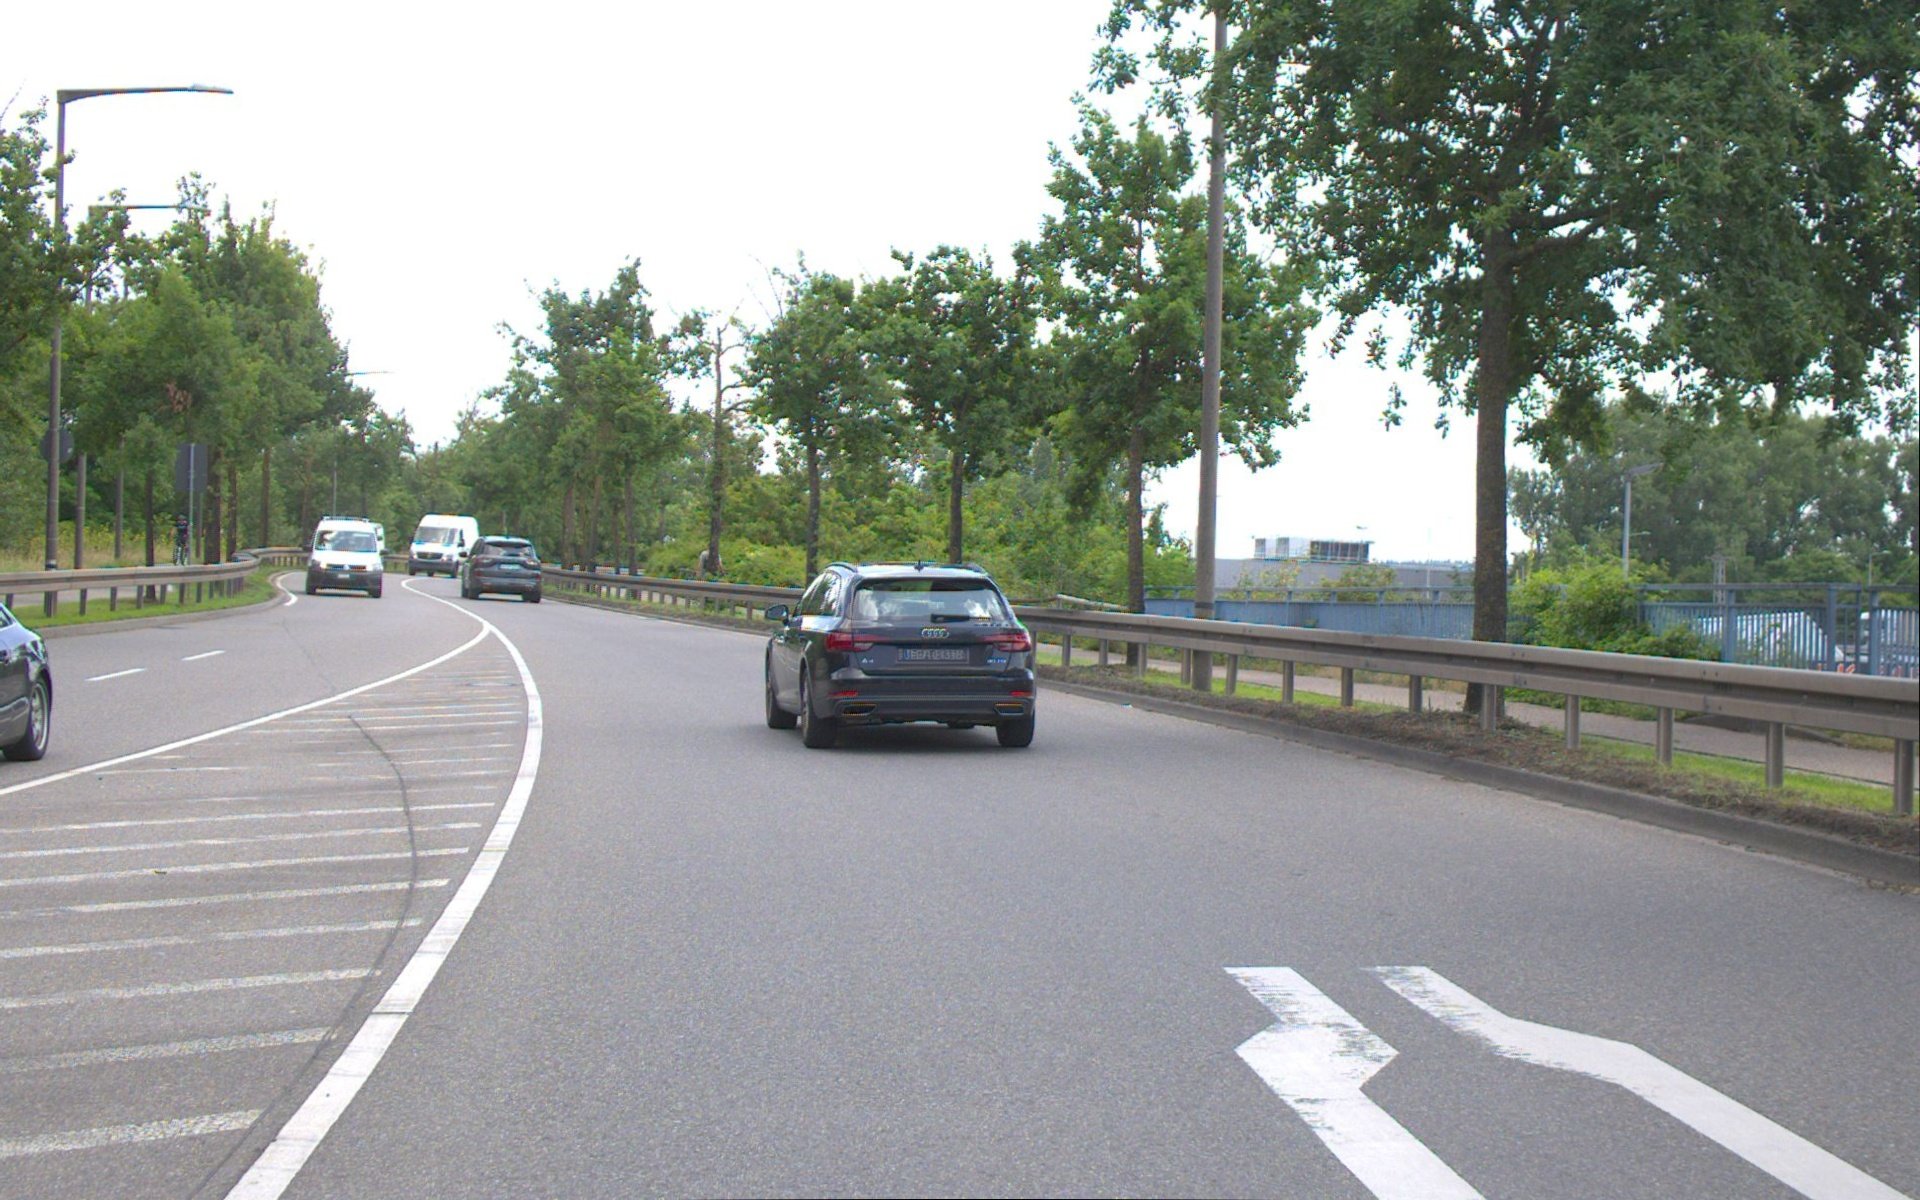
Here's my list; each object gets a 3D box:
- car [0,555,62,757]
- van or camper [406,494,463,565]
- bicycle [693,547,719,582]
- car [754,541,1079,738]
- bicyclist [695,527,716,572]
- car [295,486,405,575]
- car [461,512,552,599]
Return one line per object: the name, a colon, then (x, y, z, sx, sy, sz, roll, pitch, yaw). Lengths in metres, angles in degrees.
car: (-7.397, 0.387, 22.908, 1.903, 1.359, 4.576, -1, 0, -4)
van or camper: (-21.977, -2.910, 143.712, 1.993, 2.741, 5.387, 3, -1, -11)
bicycle: (-6.701, -0.938, 90.550, 0.542, 0.863, 1.750, 3, -1, -7)
car: (-0.451, 0.279, 27.946, 1.993, 1.386, 4.576, 3, 0, -8)
bicyclist: (-6.709, -1.319, 90.601, 0.473, 1.164, 0.827, 0, 0, -8)
car: (-14.692, -1.682, 83.013, 1.993, 2.007, 4.559, 2, 1, -3)
car: (-11.713, -1.124, 89.070, 1.993, 2.030, 4.713, 2, -2, -4)
